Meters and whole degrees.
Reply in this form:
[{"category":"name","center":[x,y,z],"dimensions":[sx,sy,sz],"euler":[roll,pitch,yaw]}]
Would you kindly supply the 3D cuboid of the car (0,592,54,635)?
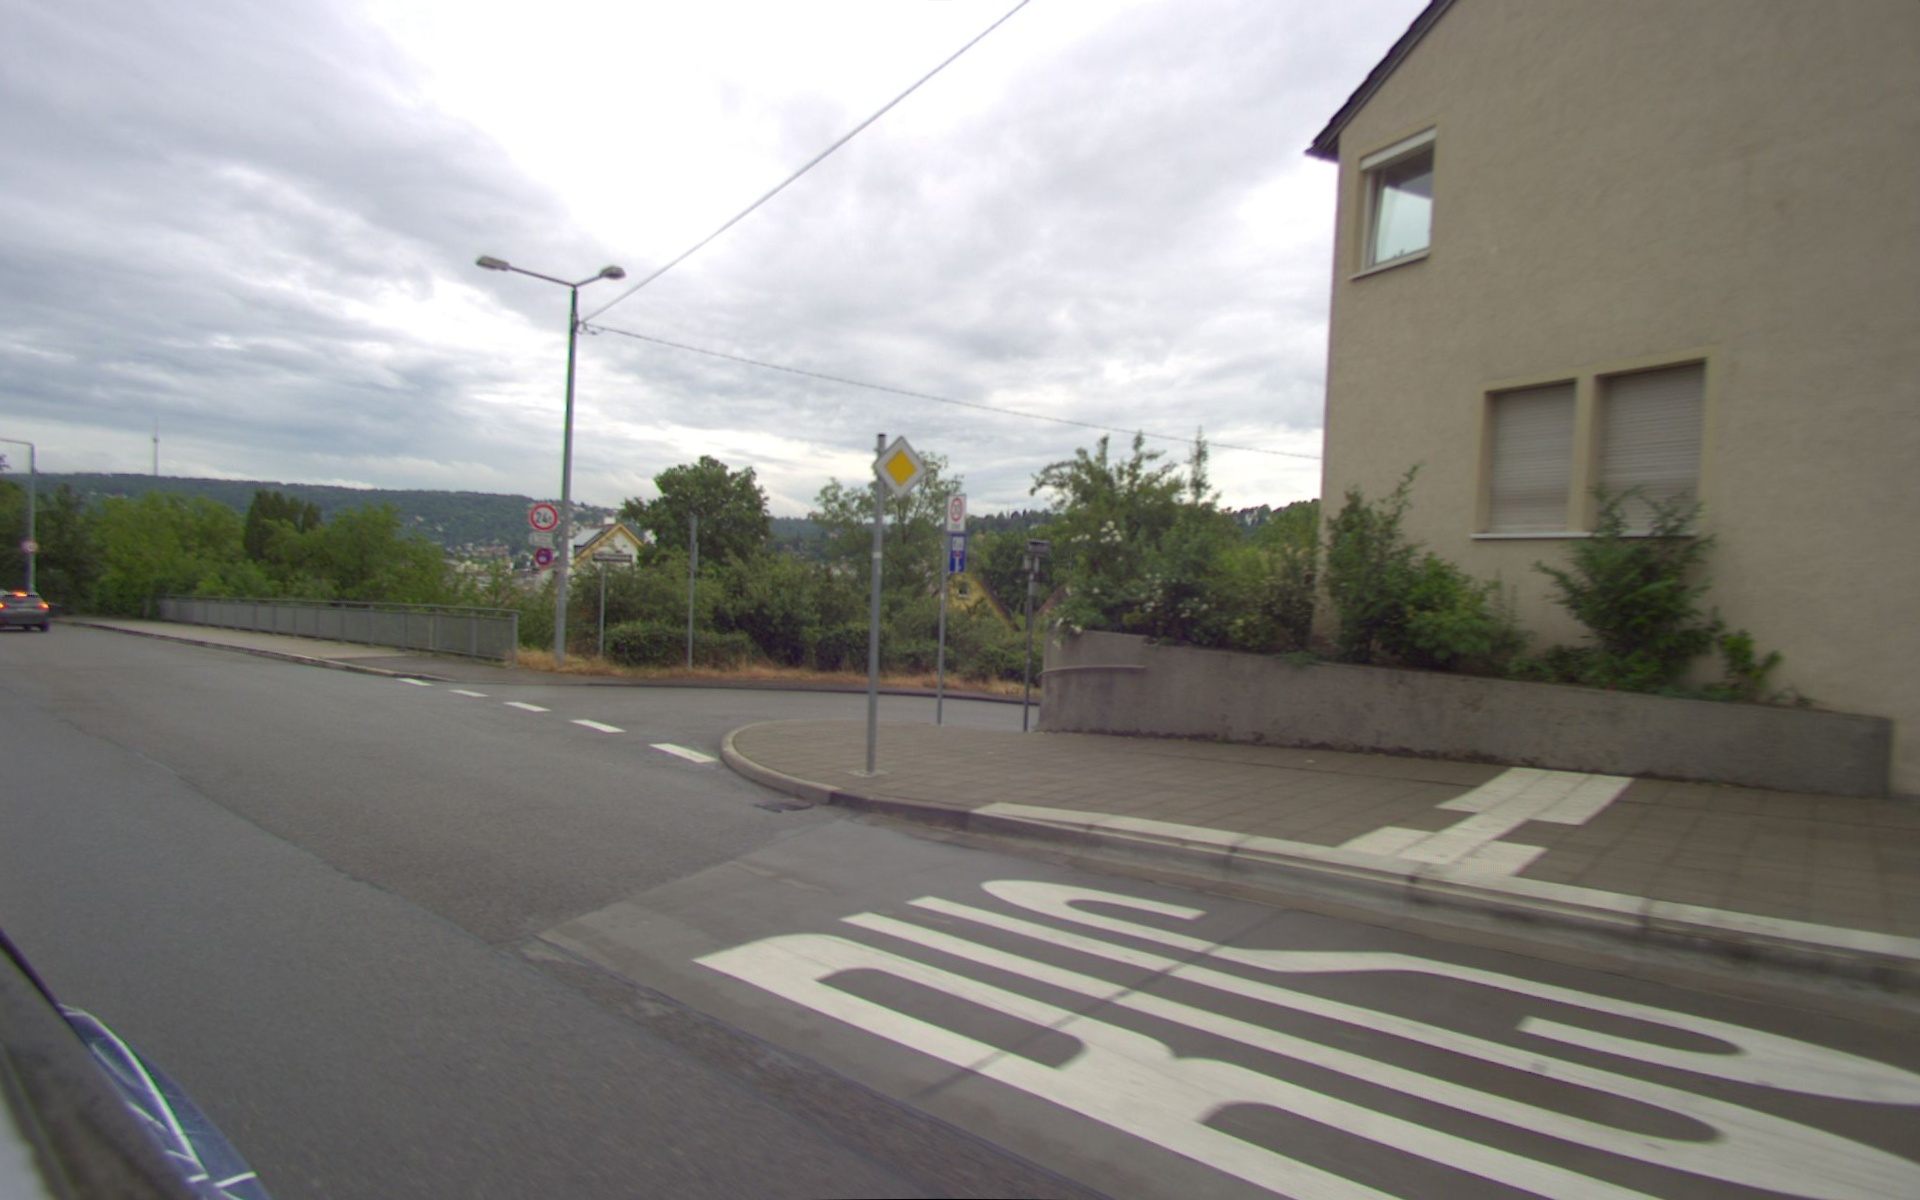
[{"category":"car","center":[-36.800,0.499,39.115],"dimensions":[3.990,1.557,1.719],"euler":[1,-1,34]}]
